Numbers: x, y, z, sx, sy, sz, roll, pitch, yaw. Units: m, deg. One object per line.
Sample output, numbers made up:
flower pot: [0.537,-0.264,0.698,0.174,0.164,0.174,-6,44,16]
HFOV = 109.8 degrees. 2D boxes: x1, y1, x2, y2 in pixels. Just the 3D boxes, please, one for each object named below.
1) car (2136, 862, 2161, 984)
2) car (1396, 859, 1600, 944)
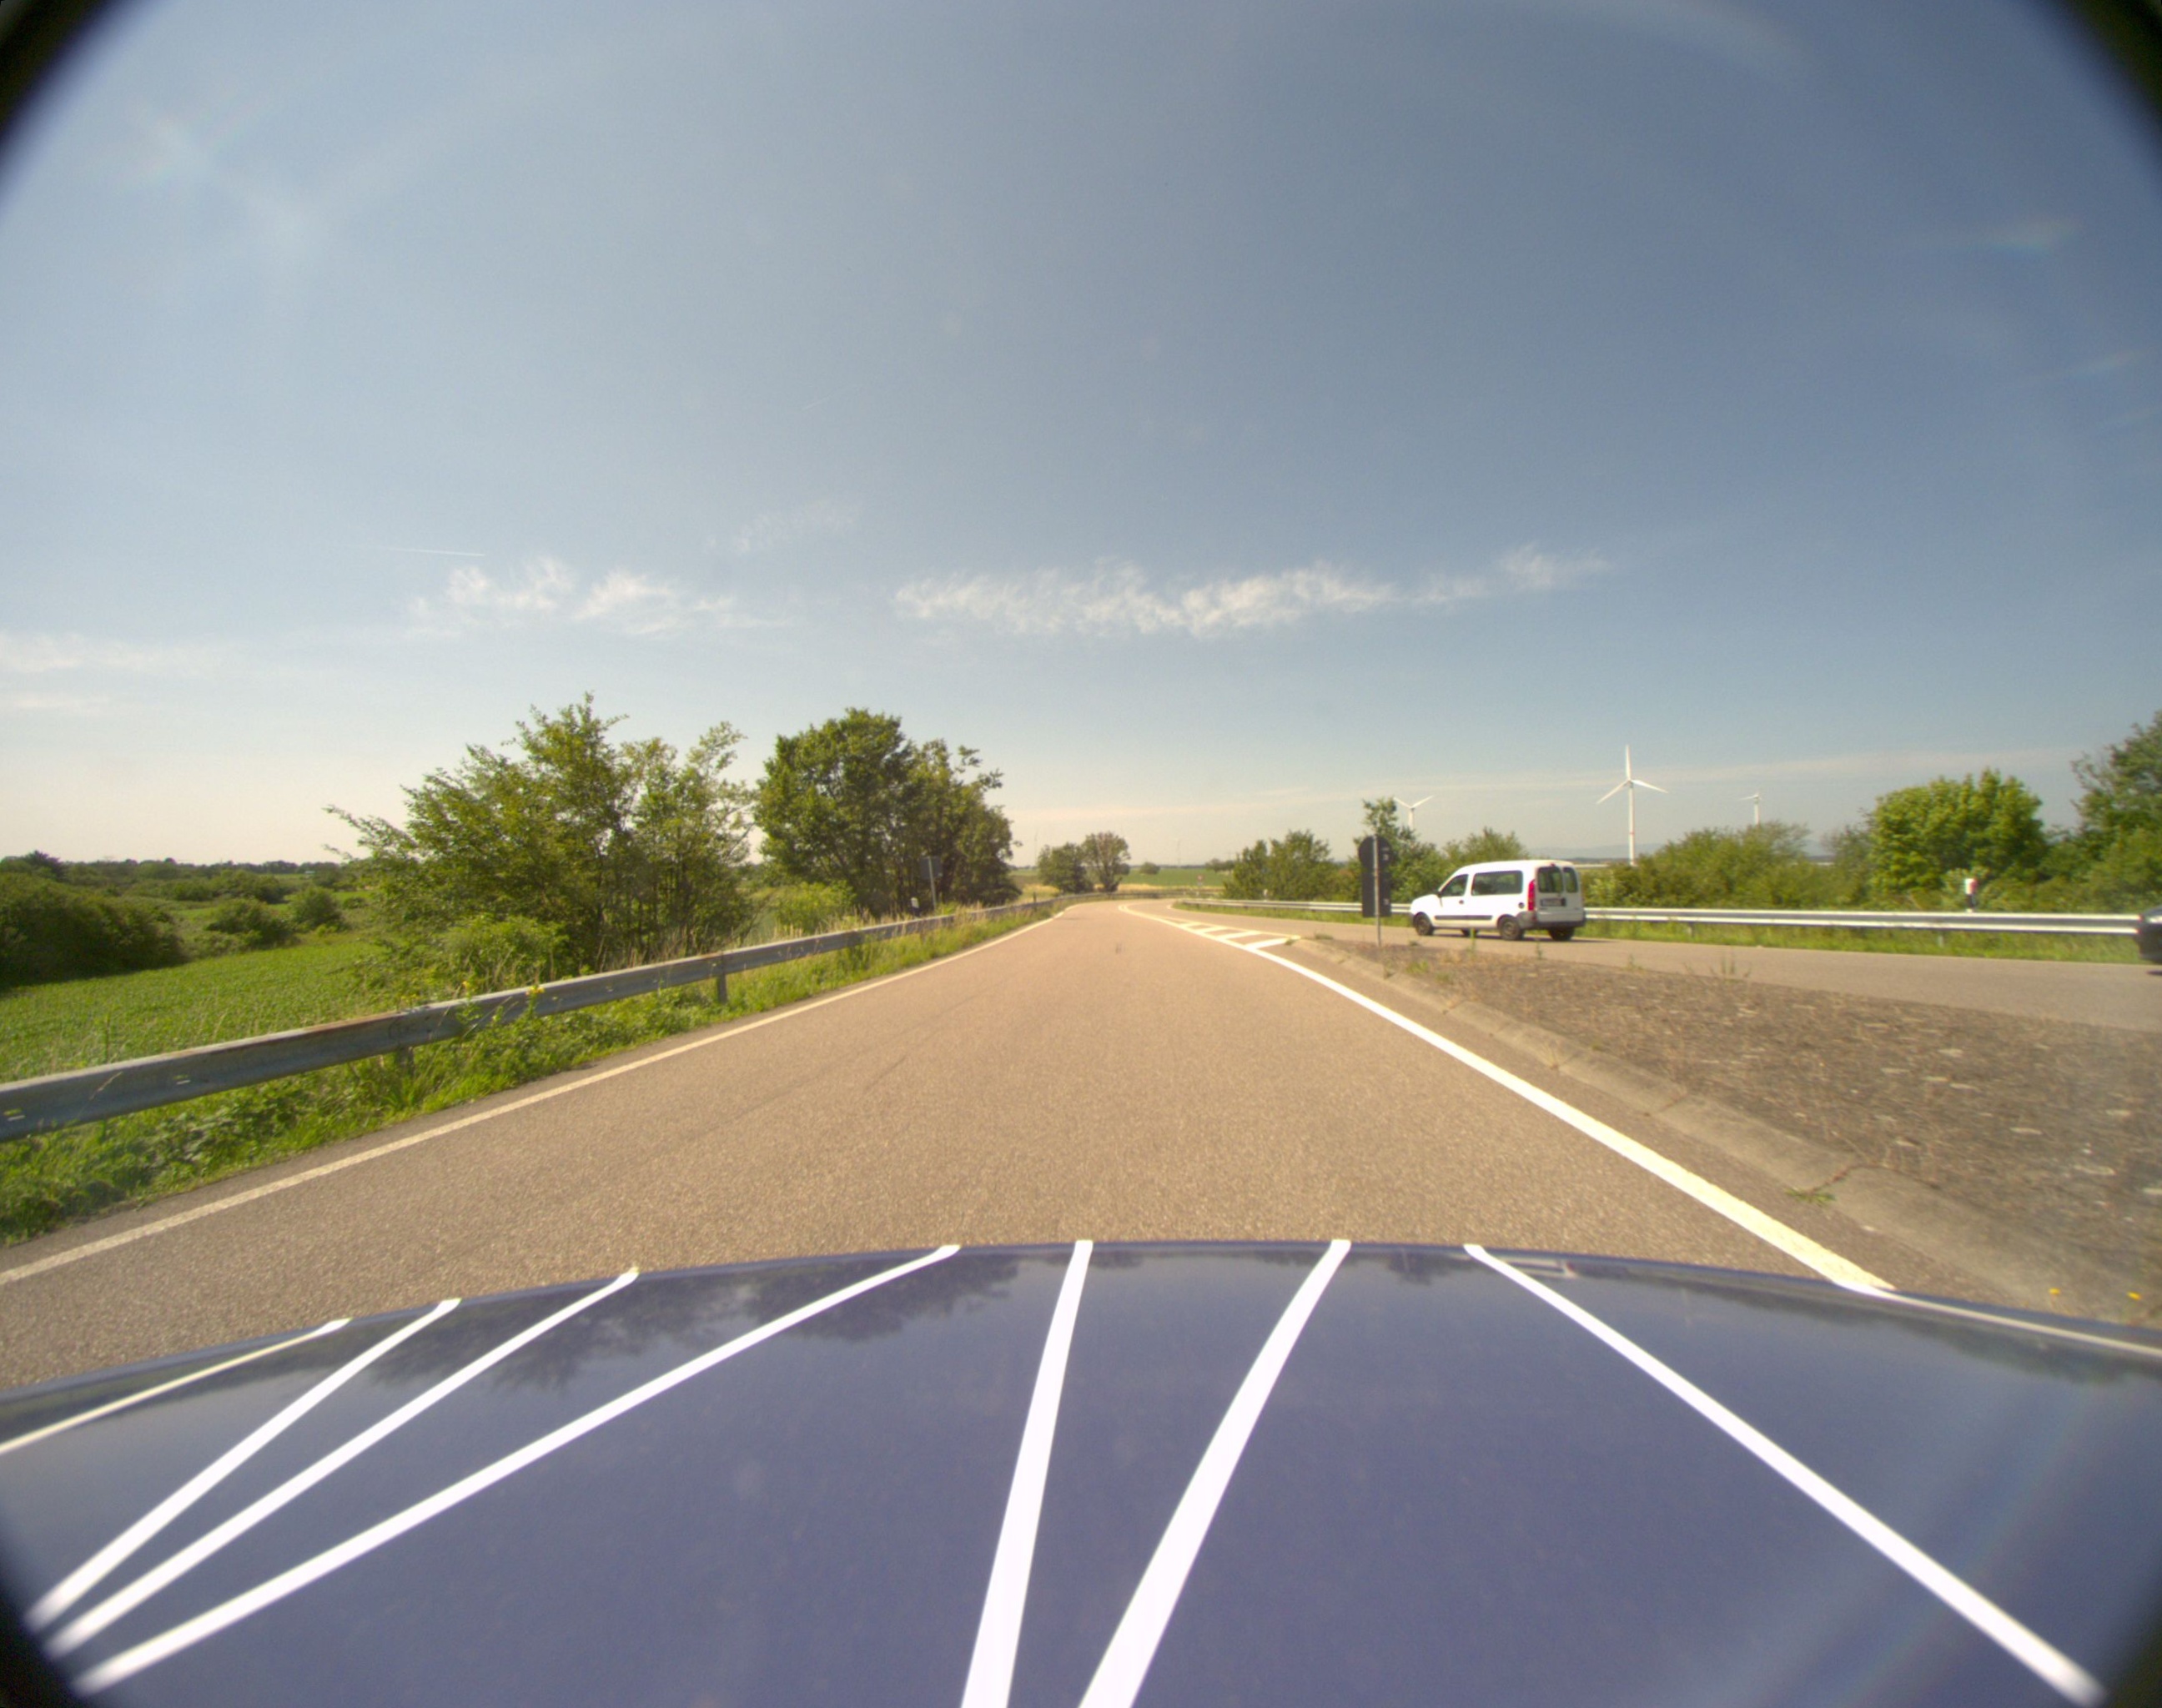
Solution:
car: [14.005,0.713,7.658,1.717,1.387,3.878,1,-3,-36]
car: [9.601,1.075,17.902,1.744,1.750,4.078,0,-3,-19]
